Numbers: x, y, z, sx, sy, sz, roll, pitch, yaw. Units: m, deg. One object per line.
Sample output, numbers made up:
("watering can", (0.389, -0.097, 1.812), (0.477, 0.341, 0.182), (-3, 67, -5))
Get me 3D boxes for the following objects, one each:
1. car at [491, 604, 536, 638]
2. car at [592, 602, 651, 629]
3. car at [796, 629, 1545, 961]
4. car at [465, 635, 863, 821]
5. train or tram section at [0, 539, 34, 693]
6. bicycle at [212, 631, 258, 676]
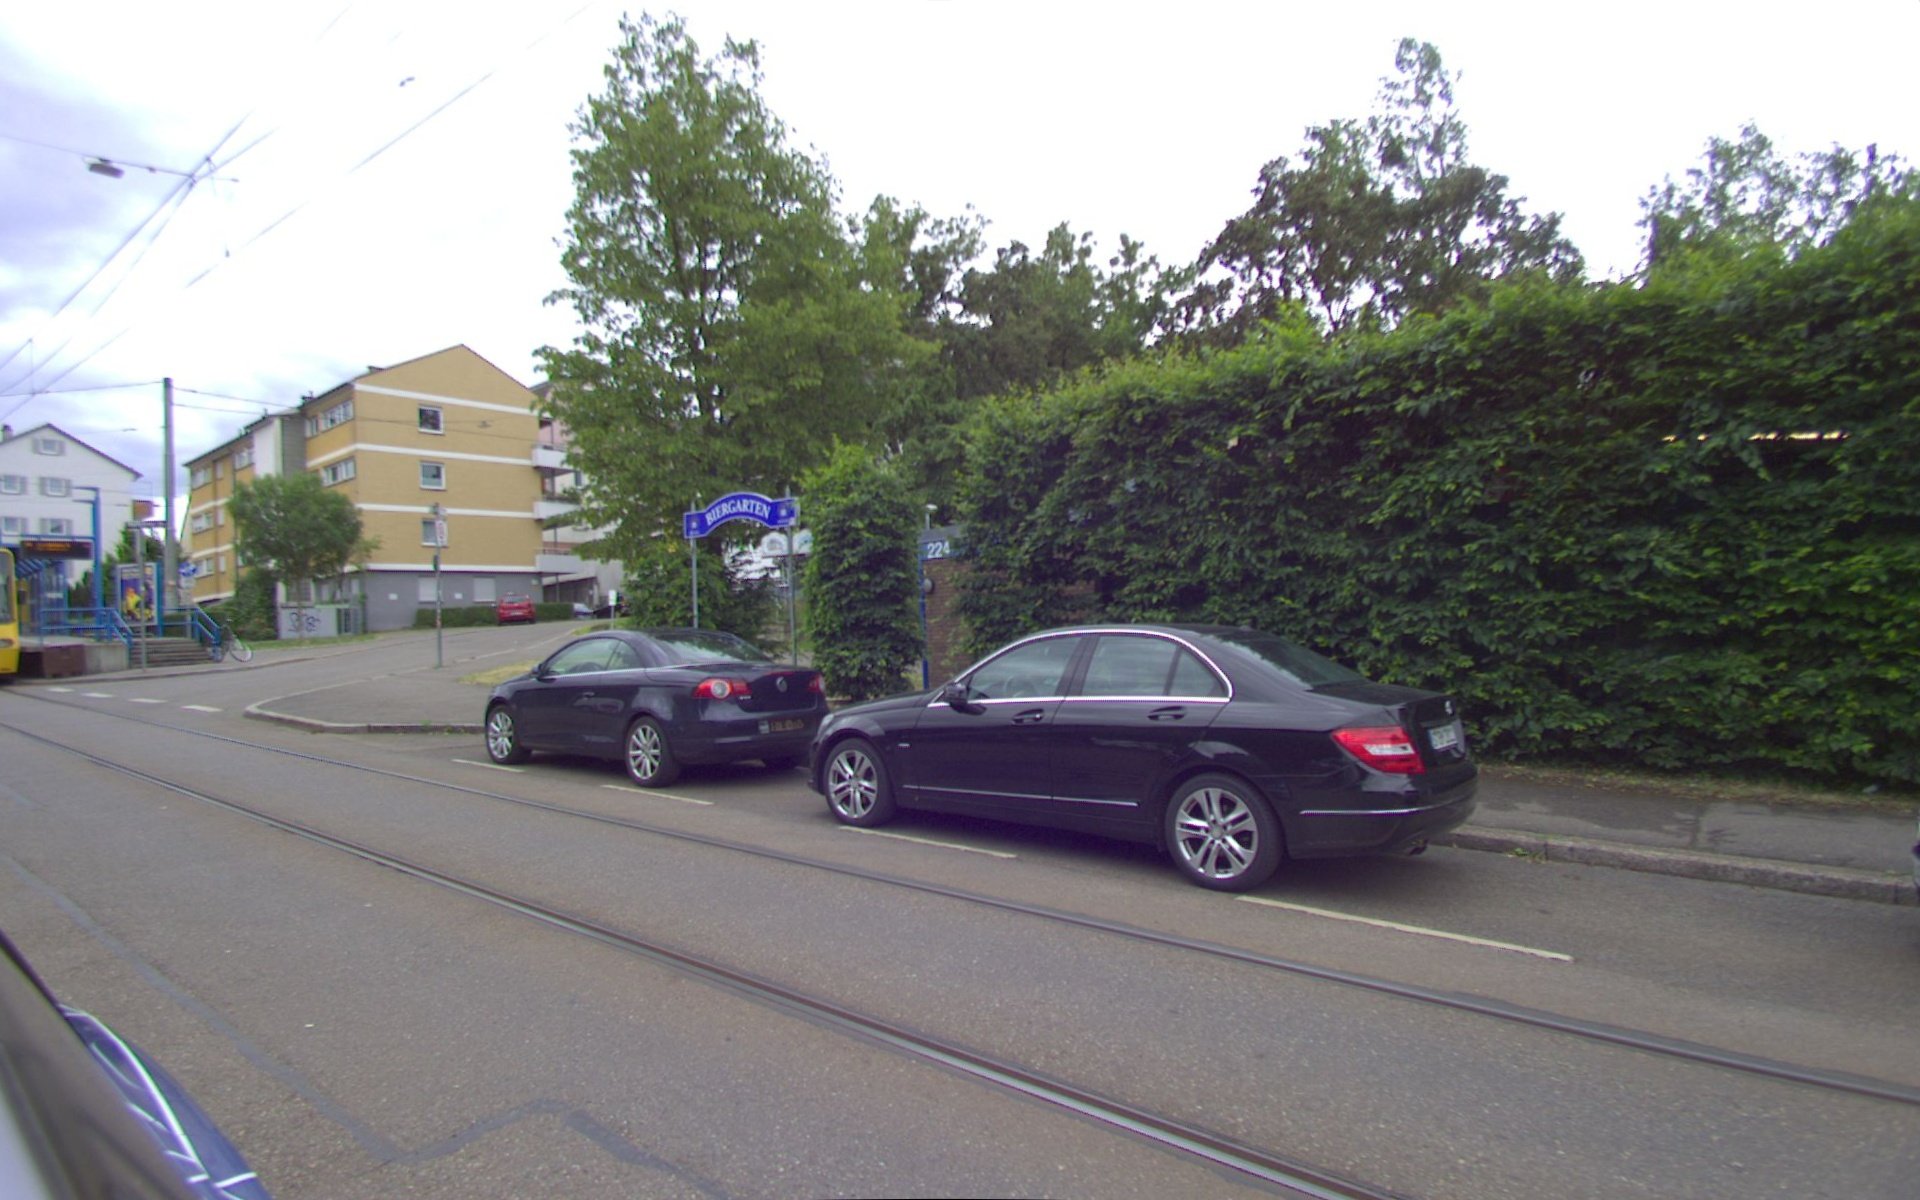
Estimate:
("car", (-21.397, 0.991, 48.381), (1.810, 1.475, 4.013), (-1, 0, -26))
("car", (-19.489, 0.873, 58.206), (1.814, 1.475, 4.005), (-1, -1, -41))
("car", (1.121, 0.922, 6.572), (4.434, 1.397, 1.822), (-1, -1, 38))
("car", (-3.086, 1.098, 10.160), (4.156, 1.415, 1.773), (-1, -1, 38))
("train or tram section", (-28.005, 0.507, 27.244), (12.117, 3.664, 2.822), (-2, -1, 39))
("bicycle", (-20.310, 1.485, 28.347), (1.487, 1.190, 0.704), (-1, -1, 40))
